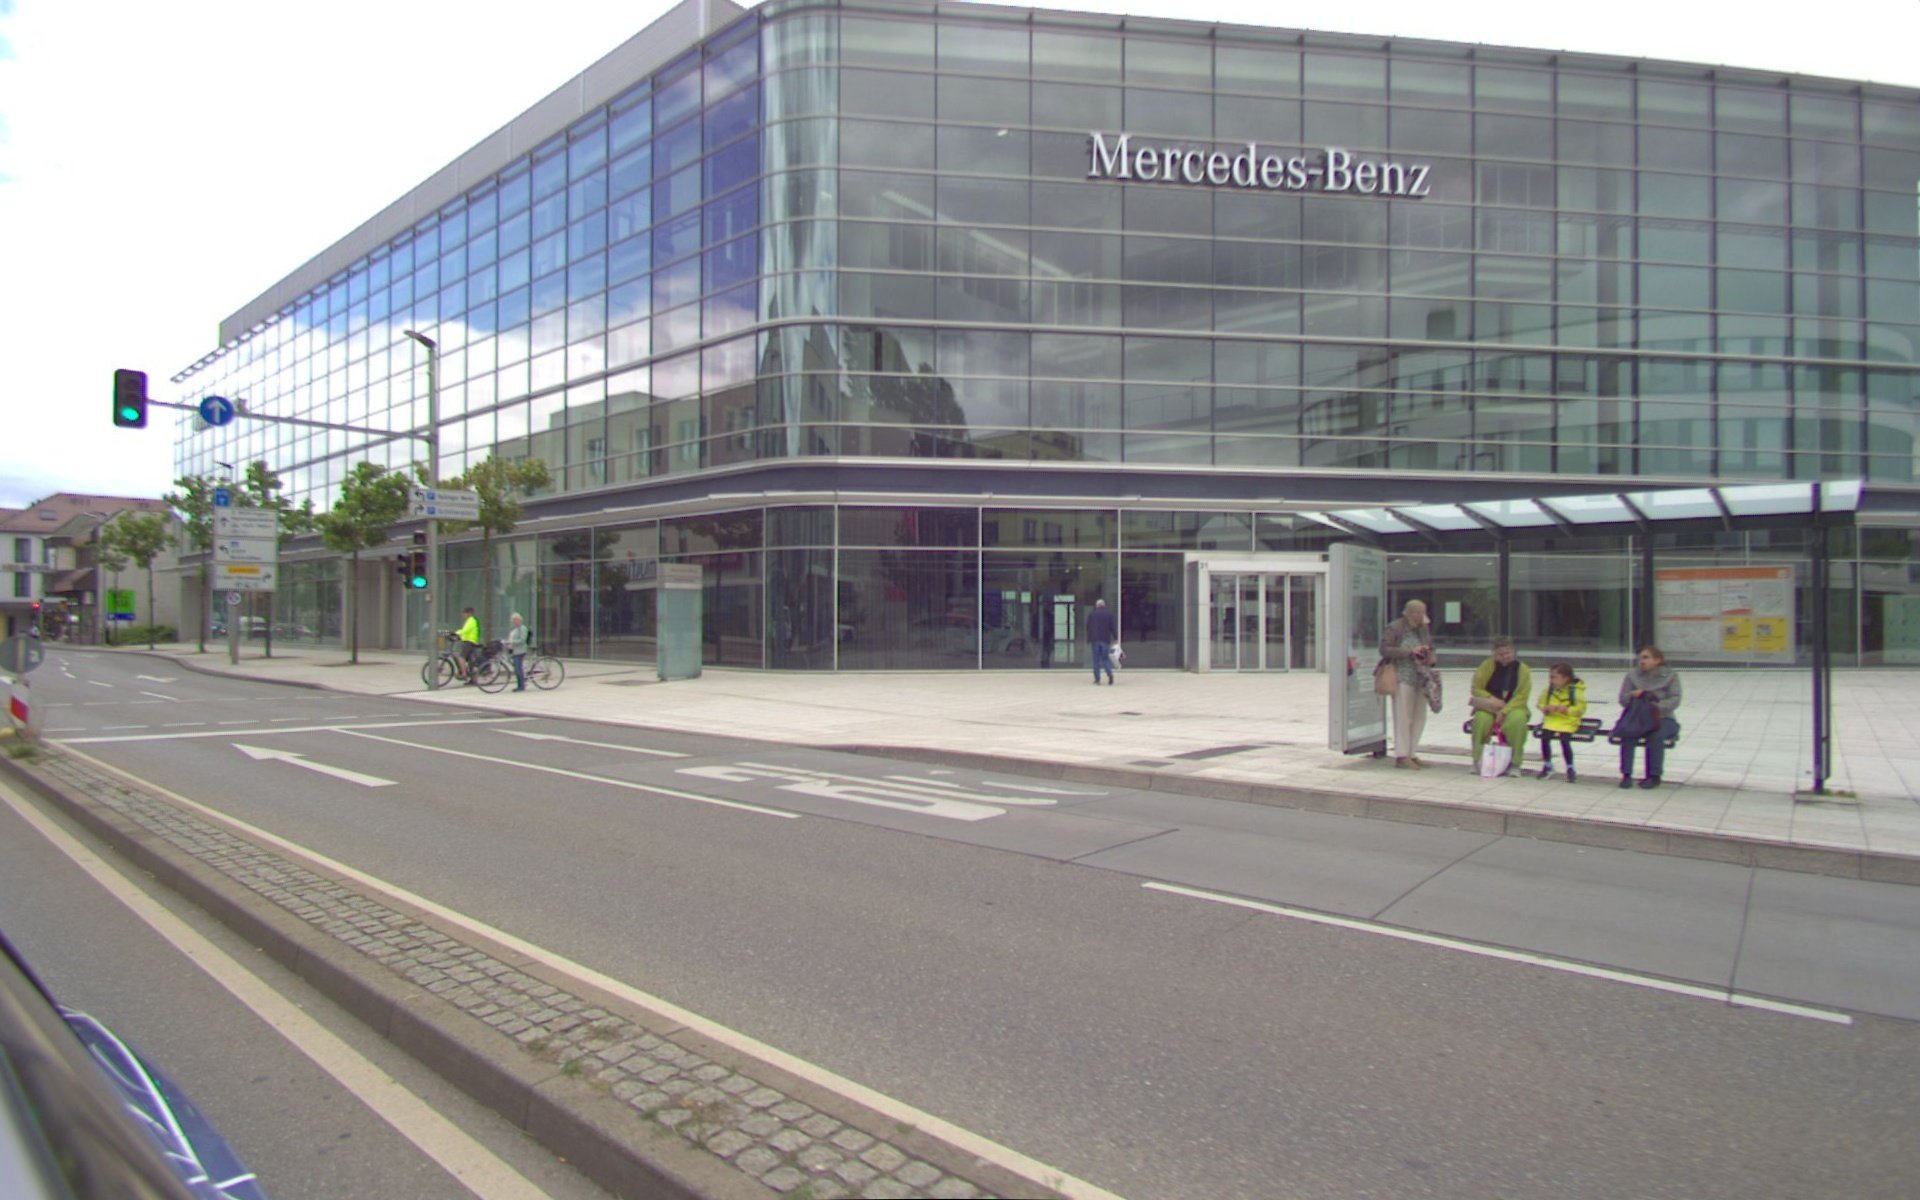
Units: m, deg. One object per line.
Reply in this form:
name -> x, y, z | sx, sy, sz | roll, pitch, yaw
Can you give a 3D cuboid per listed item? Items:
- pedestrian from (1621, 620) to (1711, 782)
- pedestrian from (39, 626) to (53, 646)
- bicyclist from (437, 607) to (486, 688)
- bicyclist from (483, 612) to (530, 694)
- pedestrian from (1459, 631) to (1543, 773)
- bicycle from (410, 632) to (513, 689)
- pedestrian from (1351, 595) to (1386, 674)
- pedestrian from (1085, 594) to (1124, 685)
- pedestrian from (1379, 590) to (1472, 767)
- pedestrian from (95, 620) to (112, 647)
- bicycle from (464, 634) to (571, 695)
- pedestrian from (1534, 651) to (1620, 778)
pedestrian -> 6.108, 0.843, 8.752 | 0.575, 1.330, 0.677 | -1, -3, 39
pedestrian -> -72.470, 2.848, 80.230 | 0.577, 1.527, 0.552 | 0, -2, 8
bicyclist -> -11.585, 1.082, 23.544 | 0.762, 1.813, 0.748 | -2, 1, -5
bicyclist -> -9.610, 1.112, 21.448 | 0.771, 1.661, 0.640 | -2, 1, -34
pedestrian -> 5.104, 0.930, 9.540 | 0.575, 1.263, 0.677 | -1, -2, 39
bicycle -> -11.574, 1.395, 23.545 | 2.000, 1.215, 0.748 | -2, 1, -5
pedestrian -> 10.336, 0.868, 25.597 | 0.746, 1.960, 0.680 | -1, 0, 28
pedestrian -> 3.170, 0.849, 22.281 | 0.740, 1.960, 0.902 | -1, 0, 2
pedestrian -> 4.481, 0.740, 9.780 | 0.568, 1.643, 0.686 | 1, -2, 0
pedestrian -> -52.801, 2.044, 62.381 | 0.693, 1.636, 0.693 | -2, -2, 40
bicycle -> -9.419, 1.353, 21.581 | 1.973, 1.139, 0.640 | -2, 1, -34
pedestrian -> 5.596, 1.013, 9.180 | 0.575, 1.084, 0.677 | -1, -3, 39
